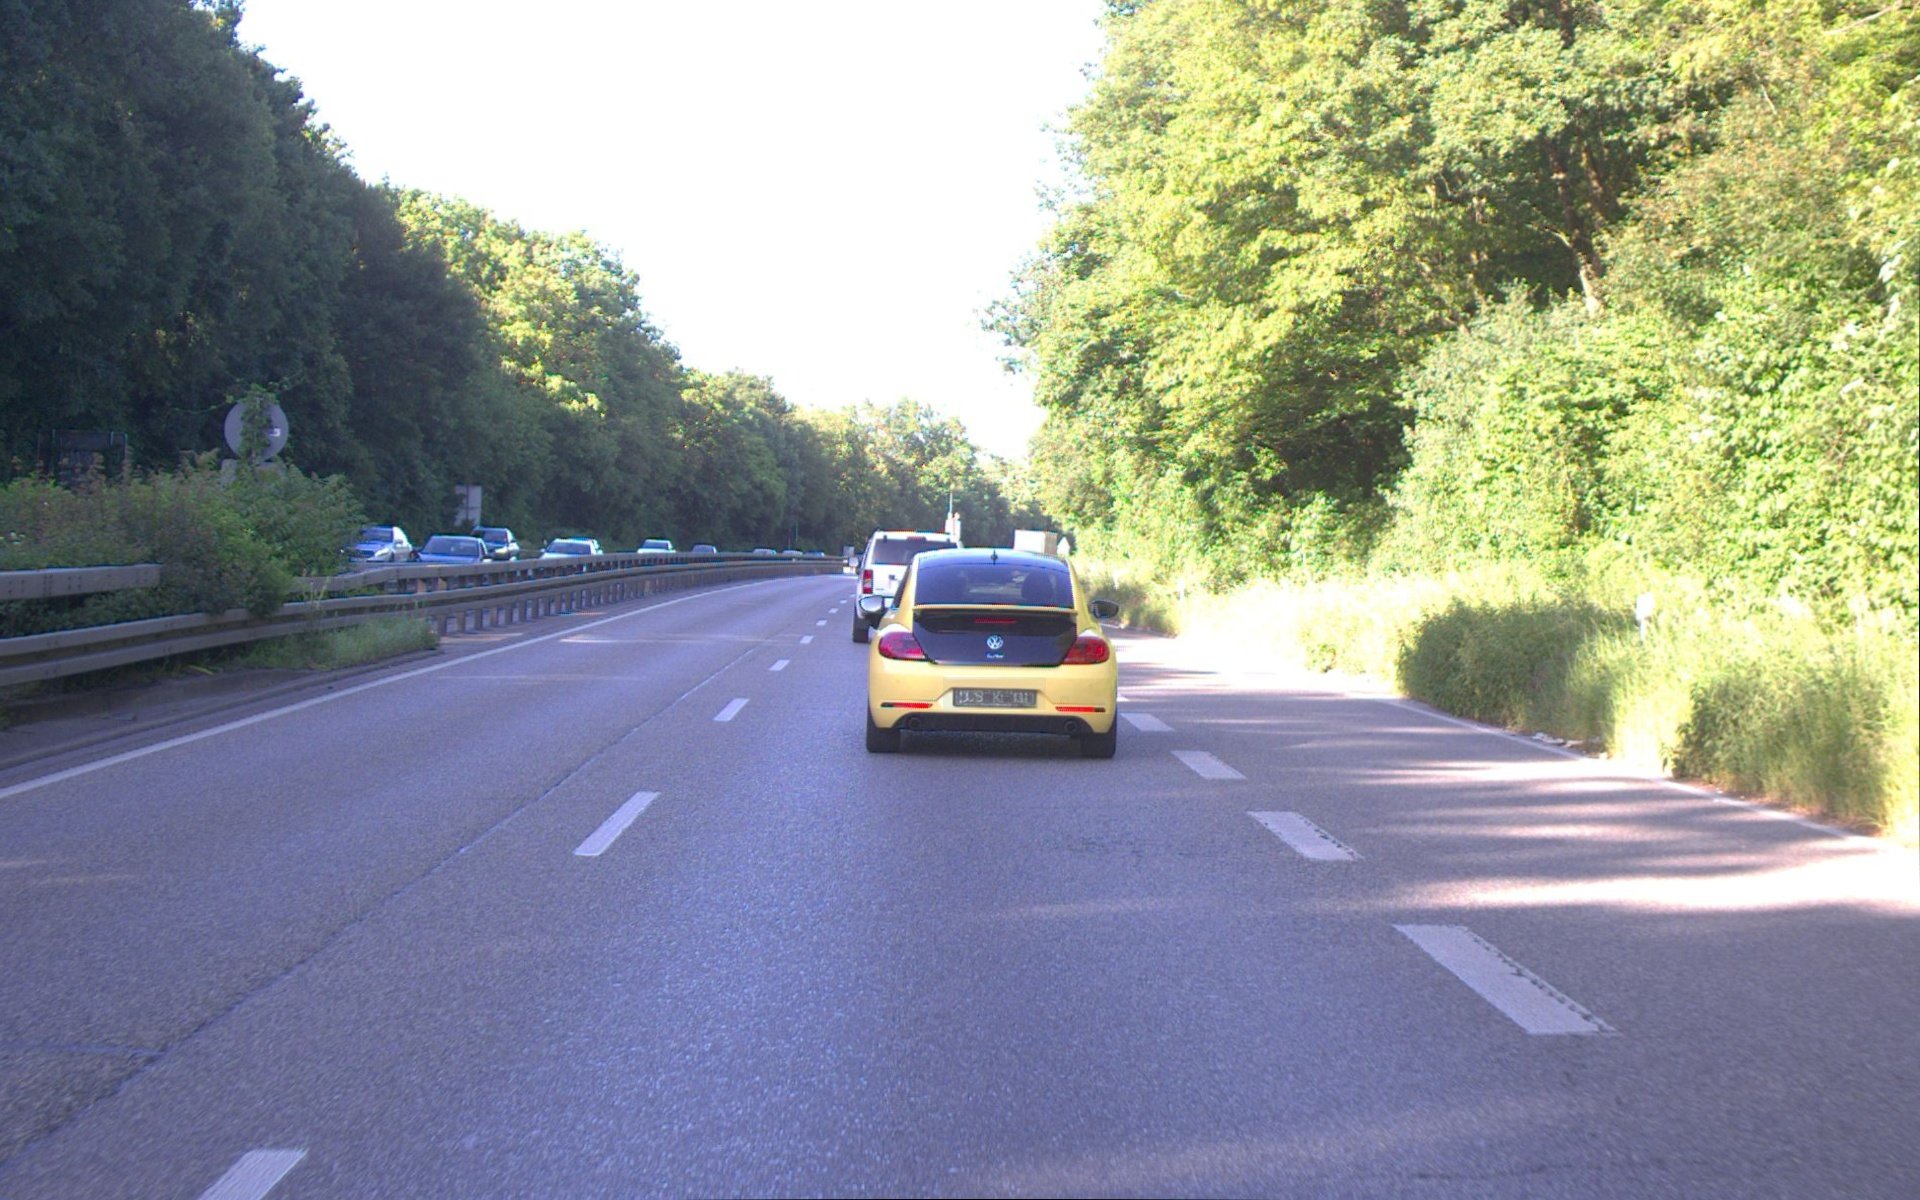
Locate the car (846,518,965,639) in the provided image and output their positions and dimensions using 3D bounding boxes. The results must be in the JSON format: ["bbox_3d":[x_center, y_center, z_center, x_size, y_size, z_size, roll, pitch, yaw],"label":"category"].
[{"bbox_3d":[-0.830,-0.354,54.375,1.741,1.823,3.422,1,1,1],"label":"car"}]

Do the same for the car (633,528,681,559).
[{"bbox_3d":[-16.470,-3.056,187.023,1.994,1.617,4.789,1,1,2],"label":"car"}]

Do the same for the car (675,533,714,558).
[{"bbox_3d":[-16.182,-3.297,209.763,1.993,1.459,4.000,1,1,1],"label":"car"}]

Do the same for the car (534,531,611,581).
[{"bbox_3d":[-12.598,-1.440,112.028,1.993,1.554,4.707,1,1,-1],"label":"car"}]

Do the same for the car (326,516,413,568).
[{"bbox_3d":[-18.654,-1.823,108.833,1.993,1.595,4.707,1,1,-1],"label":"car"}]

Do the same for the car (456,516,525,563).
[{"bbox_3d":[-17.767,-2.283,130.381,1.993,1.693,4.908,1,1,-1],"label":"car"}]

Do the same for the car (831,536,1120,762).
[{"bbox_3d":[0.183,0.315,25.247,1.939,1.503,3.422,1,1,3],"label":"car"}]
